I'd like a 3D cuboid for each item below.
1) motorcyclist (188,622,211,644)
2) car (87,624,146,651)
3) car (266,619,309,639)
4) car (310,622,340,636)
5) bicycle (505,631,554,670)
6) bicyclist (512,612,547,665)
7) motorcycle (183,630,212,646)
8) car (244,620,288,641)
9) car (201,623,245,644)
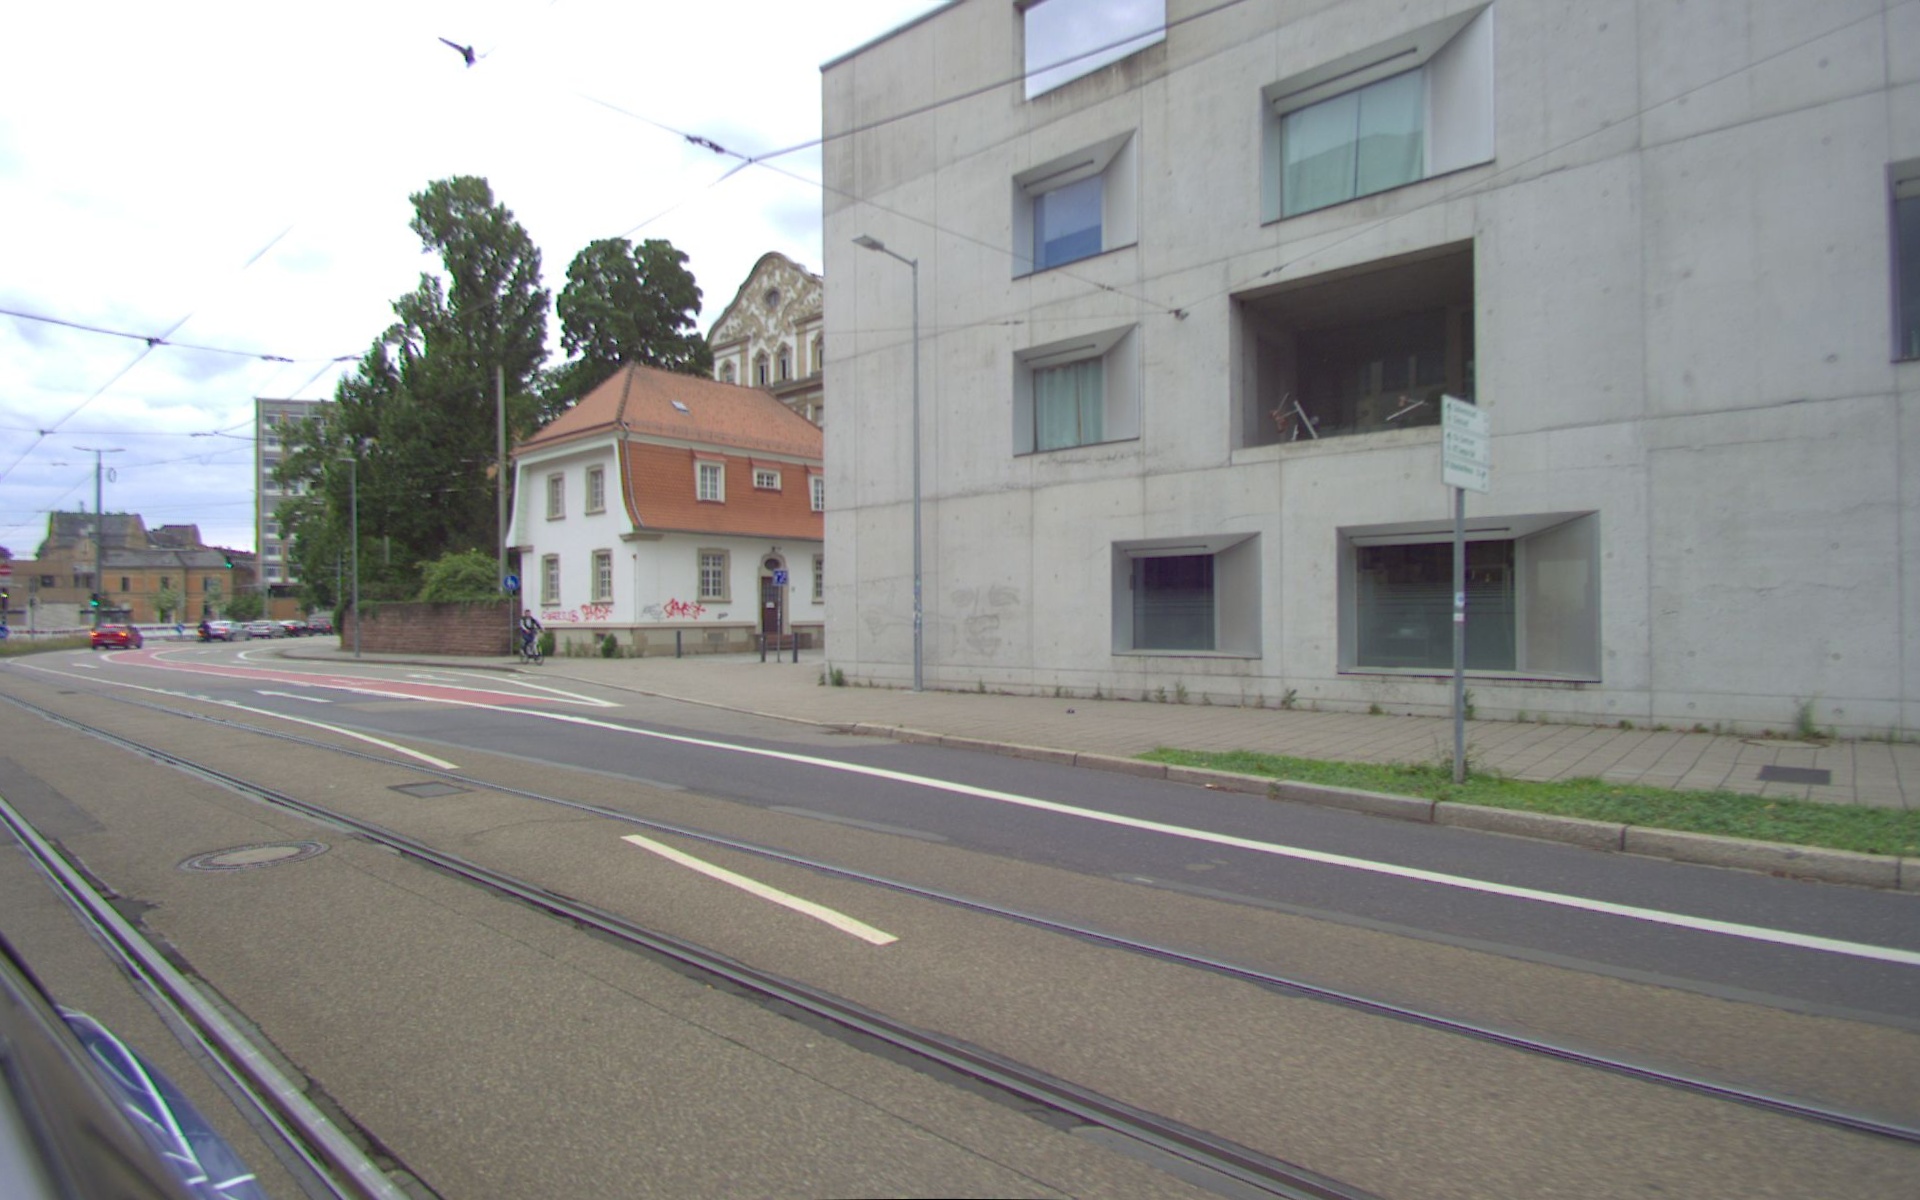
[{"bbox_3d":[-53.046,2.315,70.620,1.058,1.497,1.255,0,-1,-24],"label":"motorcyclist"},{"bbox_3d":[-48.956,2.166,58.782,1.731,1.511,4.013,1,-2,-27],"label":"car"},{"bbox_3d":[-57.775,2.457,87.020,1.757,1.623,4.336,0,-1,-14],"label":"car"},{"bbox_3d":[-58.577,2.679,93.327,1.400,1.180,3.079,0,-1,-13],"label":"car"},{"bbox_3d":[-14.107,1.632,33.171,1.868,1.221,0.766,-2,-2,42],"label":"bicycle"},{"bbox_3d":[-14.138,1.243,33.204,0.868,1.703,0.766,-2,-2,42],"label":"bicyclist"},{"bbox_3d":[-52.863,2.634,70.200,1.038,1.077,2.657,0,-1,-23],"label":"motorcycle"},{"bbox_3d":[-56.107,2.464,81.897,1.658,1.663,3.991,0,-1,-15],"label":"car"},{"bbox_3d":[-54.122,2.430,74.359,1.469,1.520,3.479,0,-1,-16],"label":"car"}]
